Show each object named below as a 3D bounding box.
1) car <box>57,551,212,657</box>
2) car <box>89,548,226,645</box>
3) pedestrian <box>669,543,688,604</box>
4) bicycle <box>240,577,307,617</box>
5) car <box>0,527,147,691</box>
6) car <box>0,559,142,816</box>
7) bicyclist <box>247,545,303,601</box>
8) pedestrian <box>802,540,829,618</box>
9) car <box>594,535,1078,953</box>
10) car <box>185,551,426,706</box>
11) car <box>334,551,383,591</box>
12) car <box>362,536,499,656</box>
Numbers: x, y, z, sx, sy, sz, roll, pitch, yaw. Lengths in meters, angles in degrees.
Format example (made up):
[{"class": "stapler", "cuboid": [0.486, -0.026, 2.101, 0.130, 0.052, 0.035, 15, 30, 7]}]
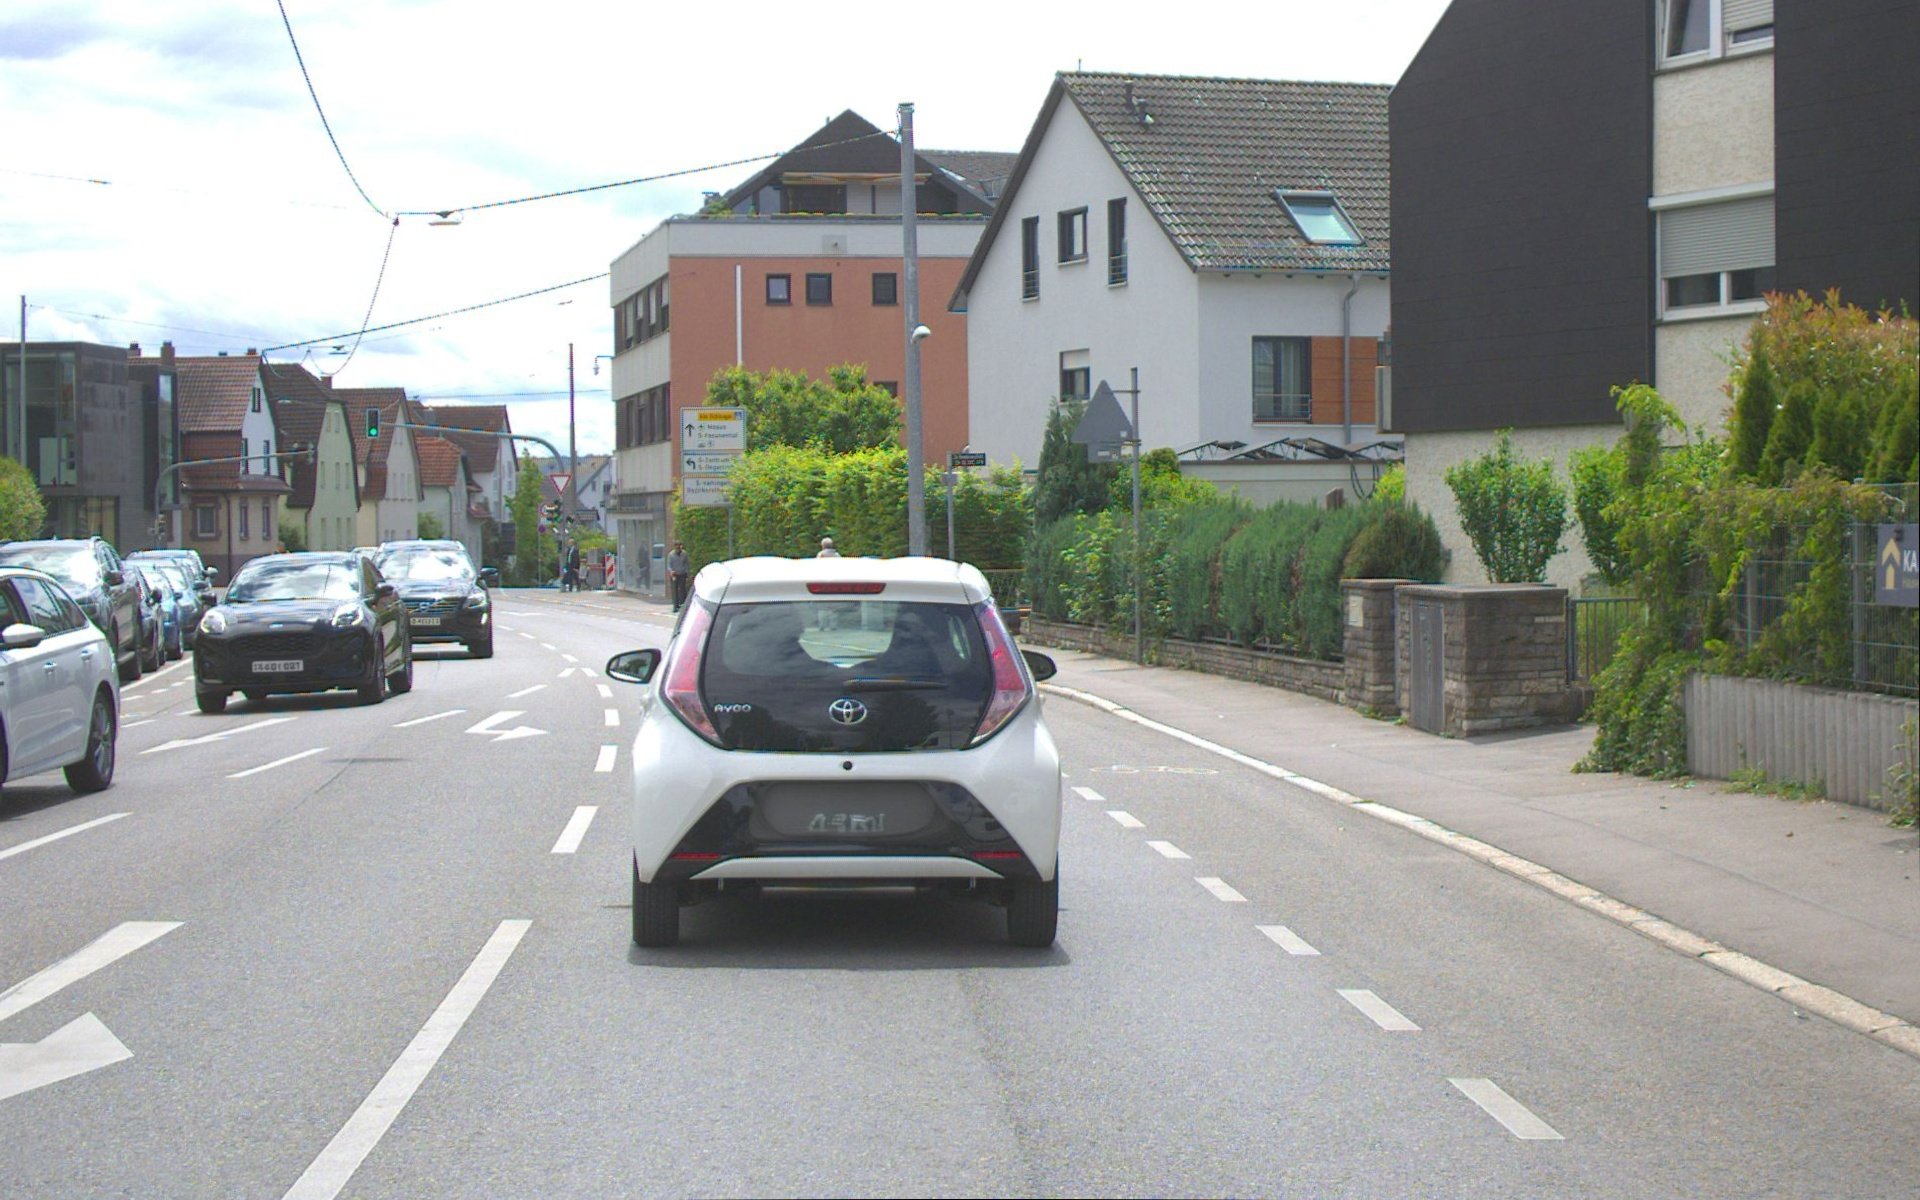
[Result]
[{"class": "car", "cuboid": [-12.635, 0.030, 52.808, 1.794, 1.505, 4.001, 2, 1, -7]}, {"class": "car", "cuboid": [-13.489, -0.086, 57.983, 1.794, 1.505, 4.001, 2, 1, -7]}, {"class": "pedestrian", "cuboid": [-6.590, -0.621, 80.532, 0.413, 1.433, 0.438, 0, 1, -9]}, {"class": "bicycle", "cuboid": [-17.333, -0.080, 86.725, 1.114, 0.933, 3.789, -3, 1, -19]}, {"class": "car", "cuboid": [-11.018, 0.095, 41.740, 1.774, 1.840, 4.010, -3, 1, -8]}, {"class": "car", "cuboid": [-6.297, 0.522, 20.404, 1.775, 1.425, 4.522, -3, 1, 0]}, {"class": "bicyclist", "cuboid": [-17.186, -0.673, 86.205, 1.114, 1.332, 1.633, -3, 1, -19]}, {"class": "pedestrian", "cuboid": [-2.662, -0.393, 63.458, 0.413, 1.433, 0.438, 0, 1, -14]}, {"class": "car", "cuboid": [-0.647, 0.517, 14.284, 1.620, 1.481, 4.001, 0, 0, -8]}, {"class": "car", "cuboid": [-6.544, 0.242, 34.764, 1.775, 1.425, 4.009, -2, 1, -2]}, {"class": "car", "cuboid": [-26.483, -1.296, 151.485, 1.993, 1.678, 4.001, 1, 1, -9]}, {"class": "car", "cuboid": [-7.512, -0.075, 49.059, 1.774, 1.547, 4.009, -3, 1, -8]}]
